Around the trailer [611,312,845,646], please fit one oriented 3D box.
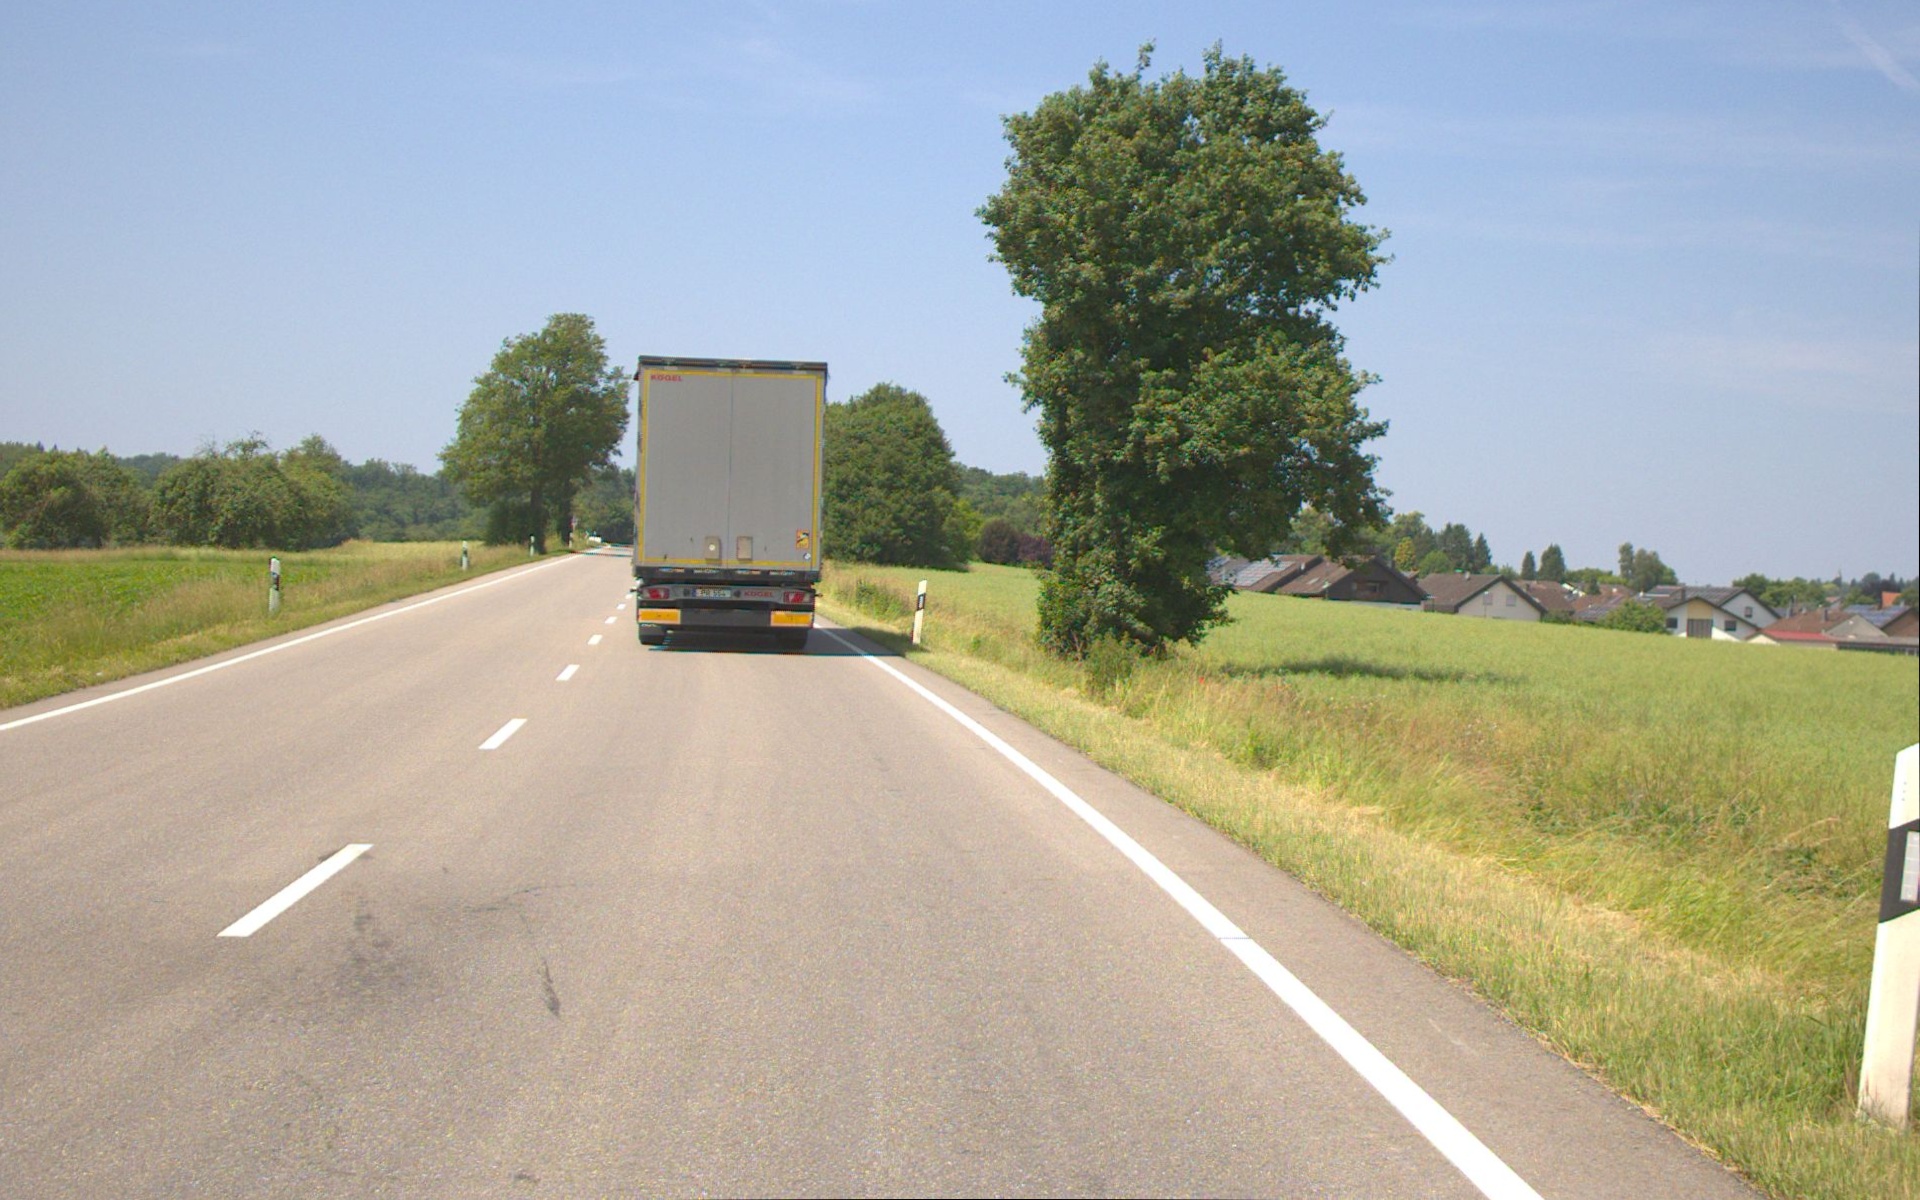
[{"bbox_3d":[-3.792,-1.774,52.774,2.866,4.385,13.496,2,1,-6],"label":"trailer"}]
